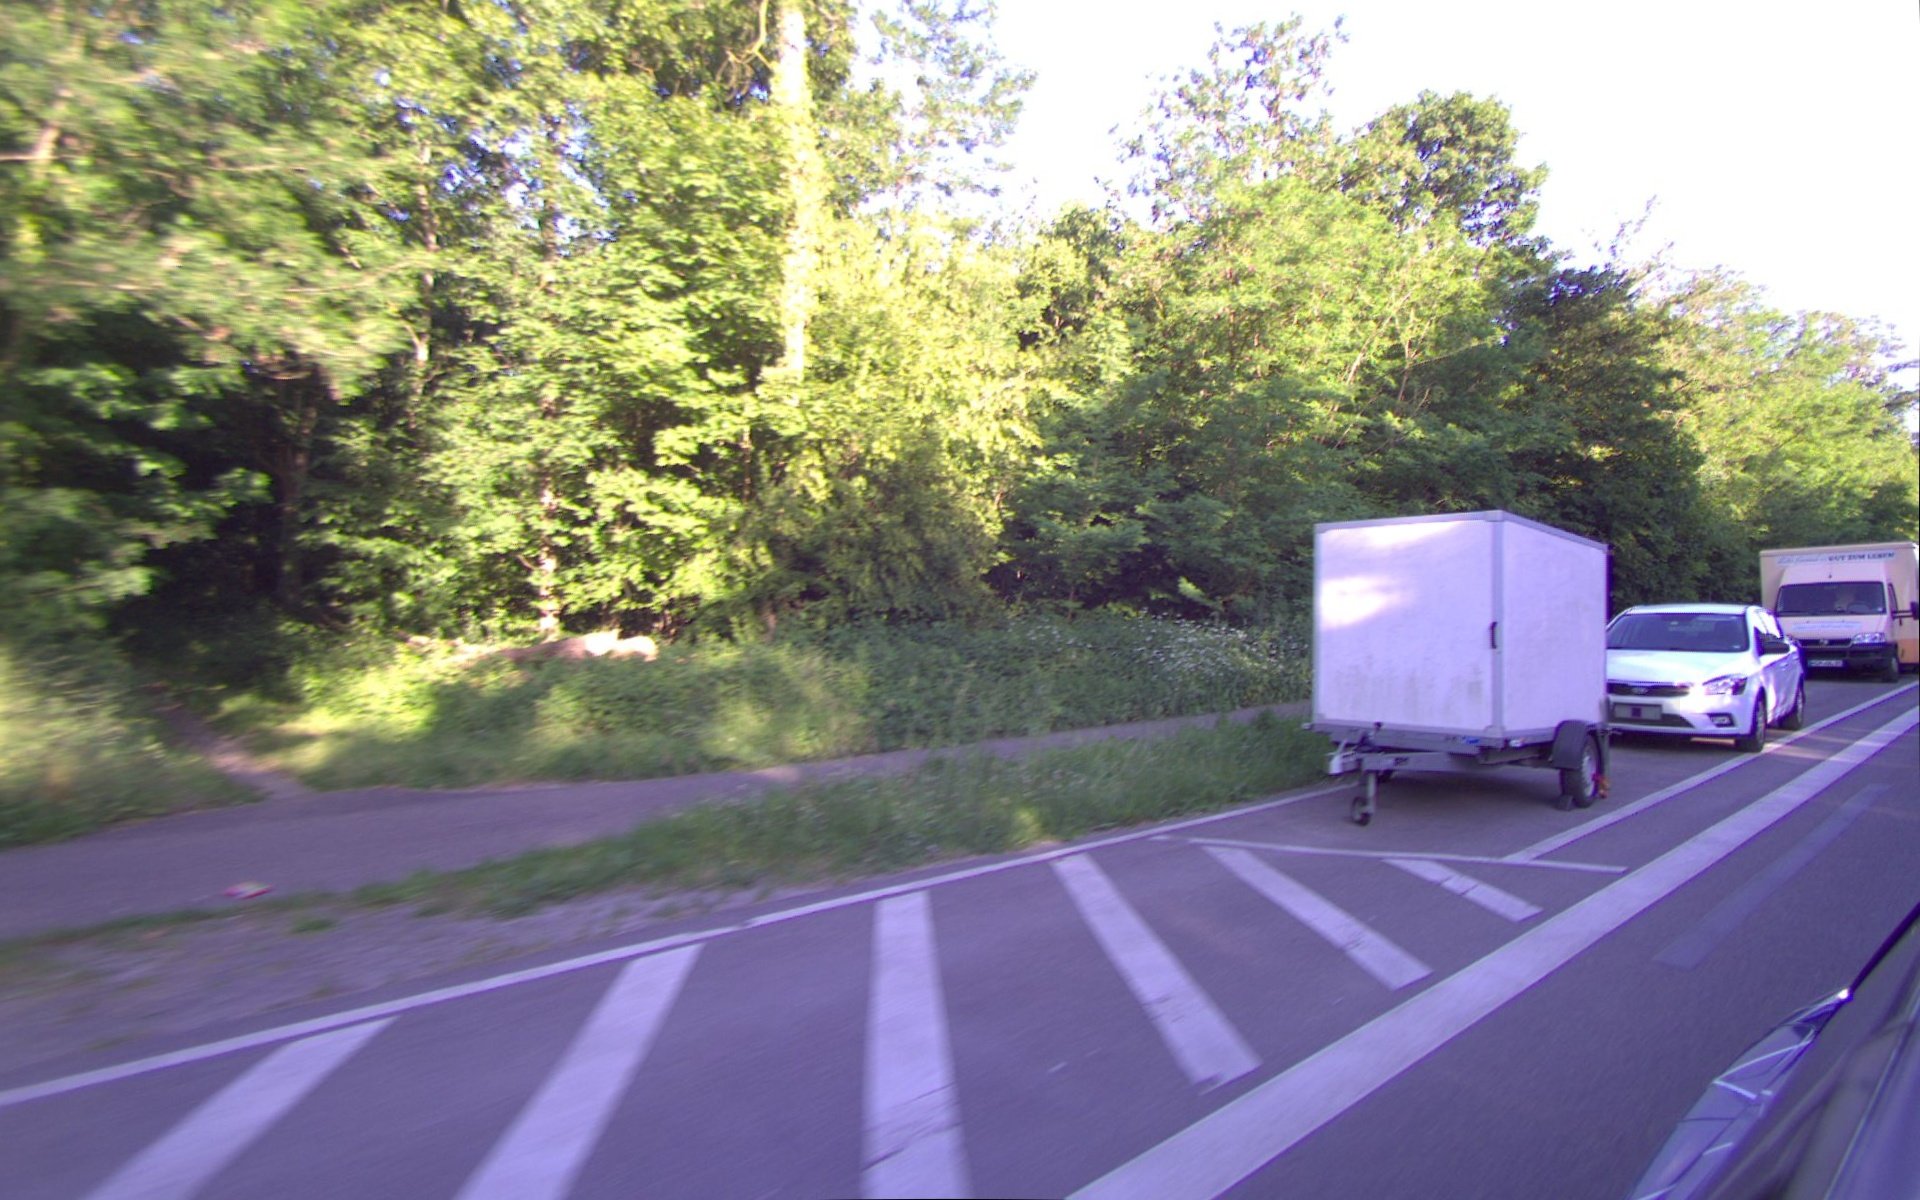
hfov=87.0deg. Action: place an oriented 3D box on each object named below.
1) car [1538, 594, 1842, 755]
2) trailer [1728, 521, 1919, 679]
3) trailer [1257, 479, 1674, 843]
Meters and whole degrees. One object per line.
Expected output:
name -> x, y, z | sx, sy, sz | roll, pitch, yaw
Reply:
car -> 8.519, 0.690, 11.648 | 4.490, 1.486, 1.891 | 0, 1, -41
trailer -> 20.241, -0.006, 22.774 | 9.714, 2.878, 2.924 | -1, -1, -42
trailer -> 4.052, 0.344, 7.903 | 3.479, 2.189, 1.757 | 0, 1, -42
